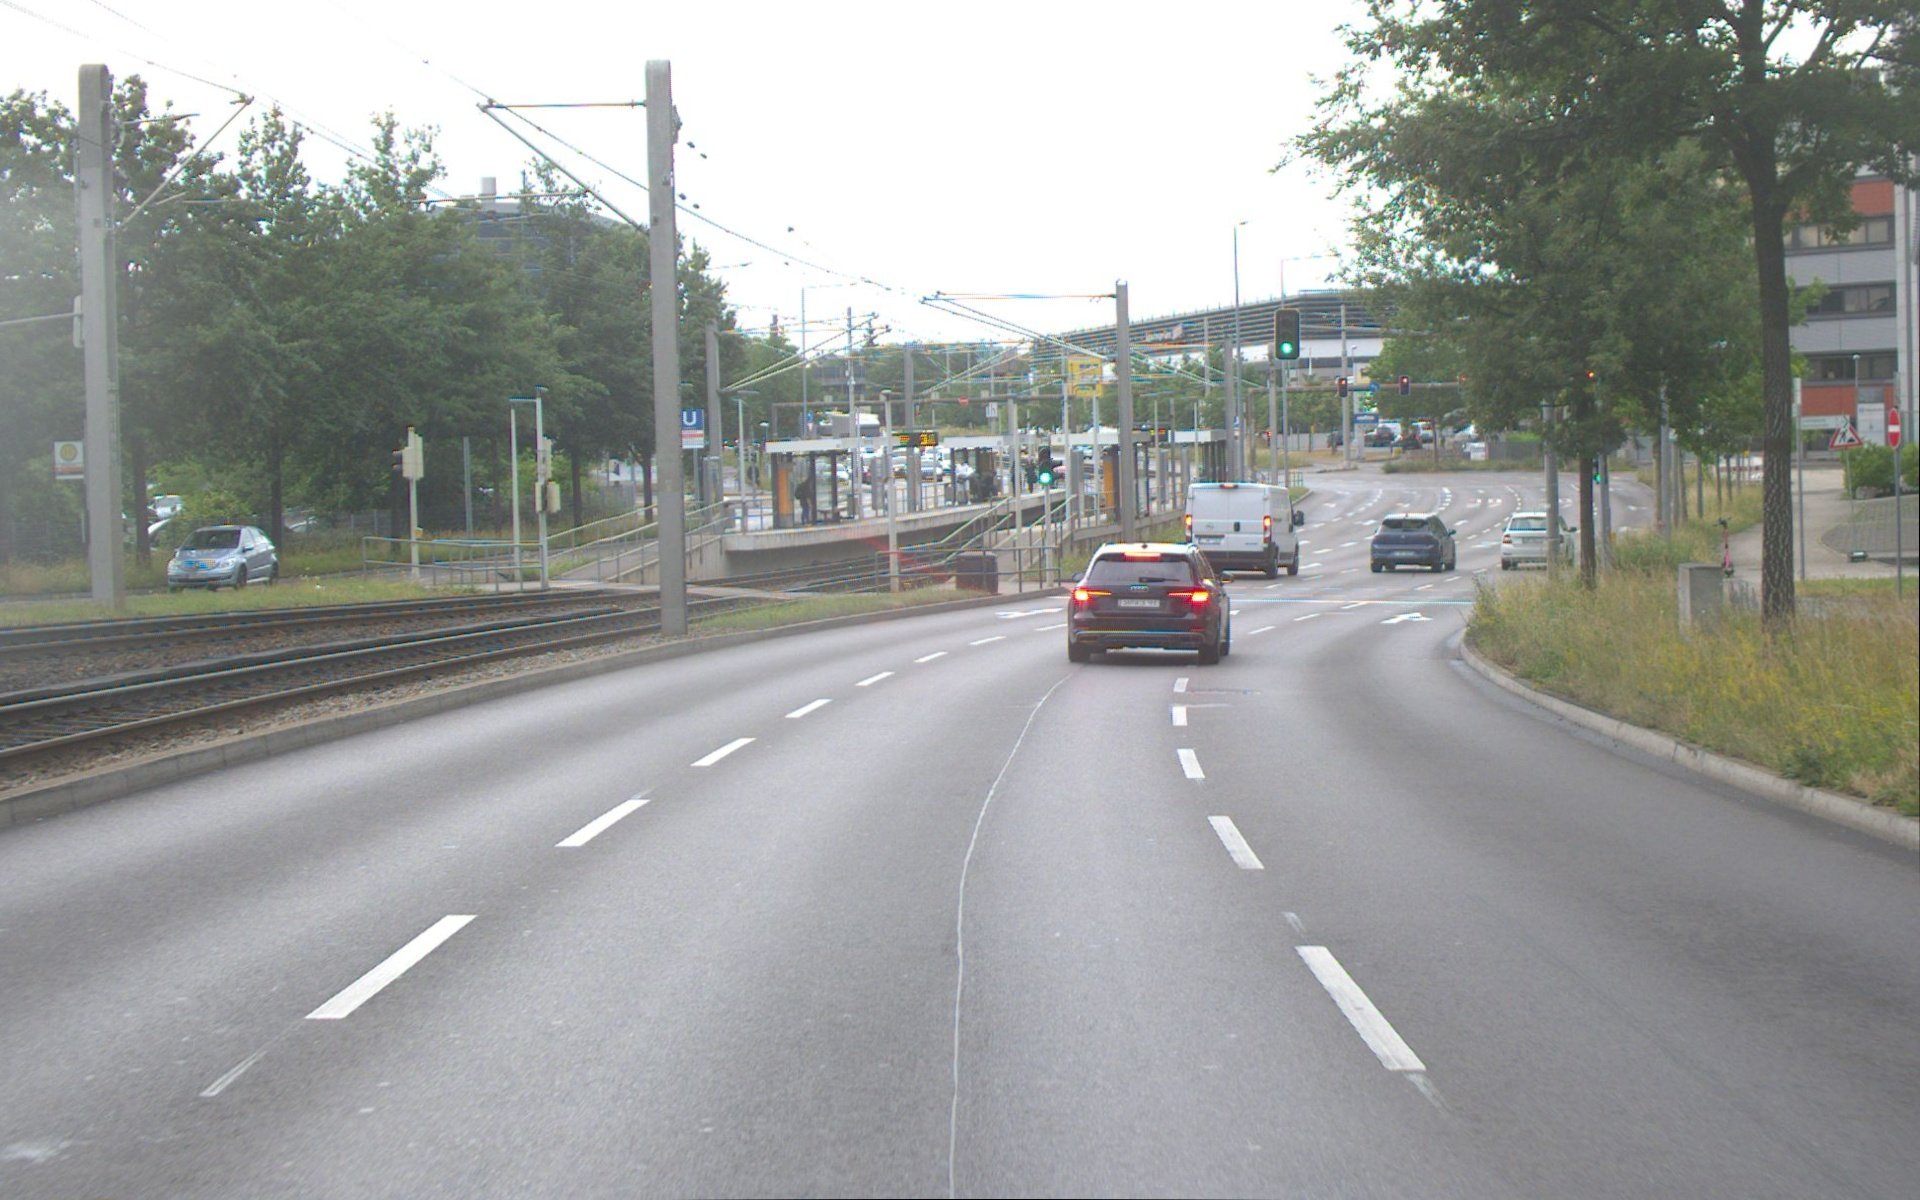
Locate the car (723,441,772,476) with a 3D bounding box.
[{"bbox_3d":[-13.550,-9.014,219.061,1.993,2.007,4.001,1,0,-22],"label":"car"}]

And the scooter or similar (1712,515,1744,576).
[{"bbox_3d":[16.297,-1.153,72.967,0.457,1.259,1.337,-3,1,6],"label":"scooter or similar"}]

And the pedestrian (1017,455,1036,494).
[{"bbox_3d":[2.990,-5.647,155.001,0.752,1.745,0.763,0,0,10],"label":"pedestrian"}]

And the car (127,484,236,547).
[{"bbox_3d":[-25.513,-2.758,112.785,1.994,2.007,3.998,0,0,12],"label":"car"}]

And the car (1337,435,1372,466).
[{"bbox_3d":[28.827,-10.917,251.242,1.993,2.007,4.000,0,0,-1],"label":"car"}]

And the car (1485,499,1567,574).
[{"bbox_3d":[14.657,-1.671,88.958,2.022,1.763,3.999,0,3,10],"label":"car"}]

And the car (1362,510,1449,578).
[{"bbox_3d":[11.278,-1.398,86.900,2.022,1.617,3.998,0,0,10],"label":"car"}]

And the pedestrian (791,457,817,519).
[{"bbox_3d":[-4.740,-3.412,104.648,0.637,1.848,0.750,0,0,9],"label":"pedestrian"}]

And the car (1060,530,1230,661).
[{"bbox_3d":[2.313,-0.099,41.969,1.764,1.458,4.626,1,2,7],"label":"car"}]

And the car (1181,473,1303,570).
[{"bbox_3d":[6.745,-1.828,81.621,2.512,2.170,5.147,0,0,9],"label":"car"}]

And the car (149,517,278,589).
[{"bbox_3d":[-18.052,-1.167,83.262,1.994,1.674,4.000,0,2,4],"label":"car"}]

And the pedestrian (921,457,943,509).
[{"bbox_3d":[-1.085,-4.556,133.851,0.855,2.007,1.041,0,0,0],"label":"pedestrian"}]

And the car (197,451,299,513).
[{"bbox_3d":[-24.406,-4.030,117.984,1.994,2.007,3.998,0,0,12],"label":"car"}]

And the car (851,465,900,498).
[{"bbox_3d":[-5.598,-7.847,227.313,1.993,2.007,4.001,1,0,-22],"label":"car"}]

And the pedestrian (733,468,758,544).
[{"bbox_3d":[-5.569,-2.445,89.237,0.549,1.946,0.664,0,0,6],"label":"pedestrian"}]

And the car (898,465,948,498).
[{"bbox_3d":[-2.485,-7.846,228.140,1.993,2.007,4.001,1,0,-22],"label":"car"}]
